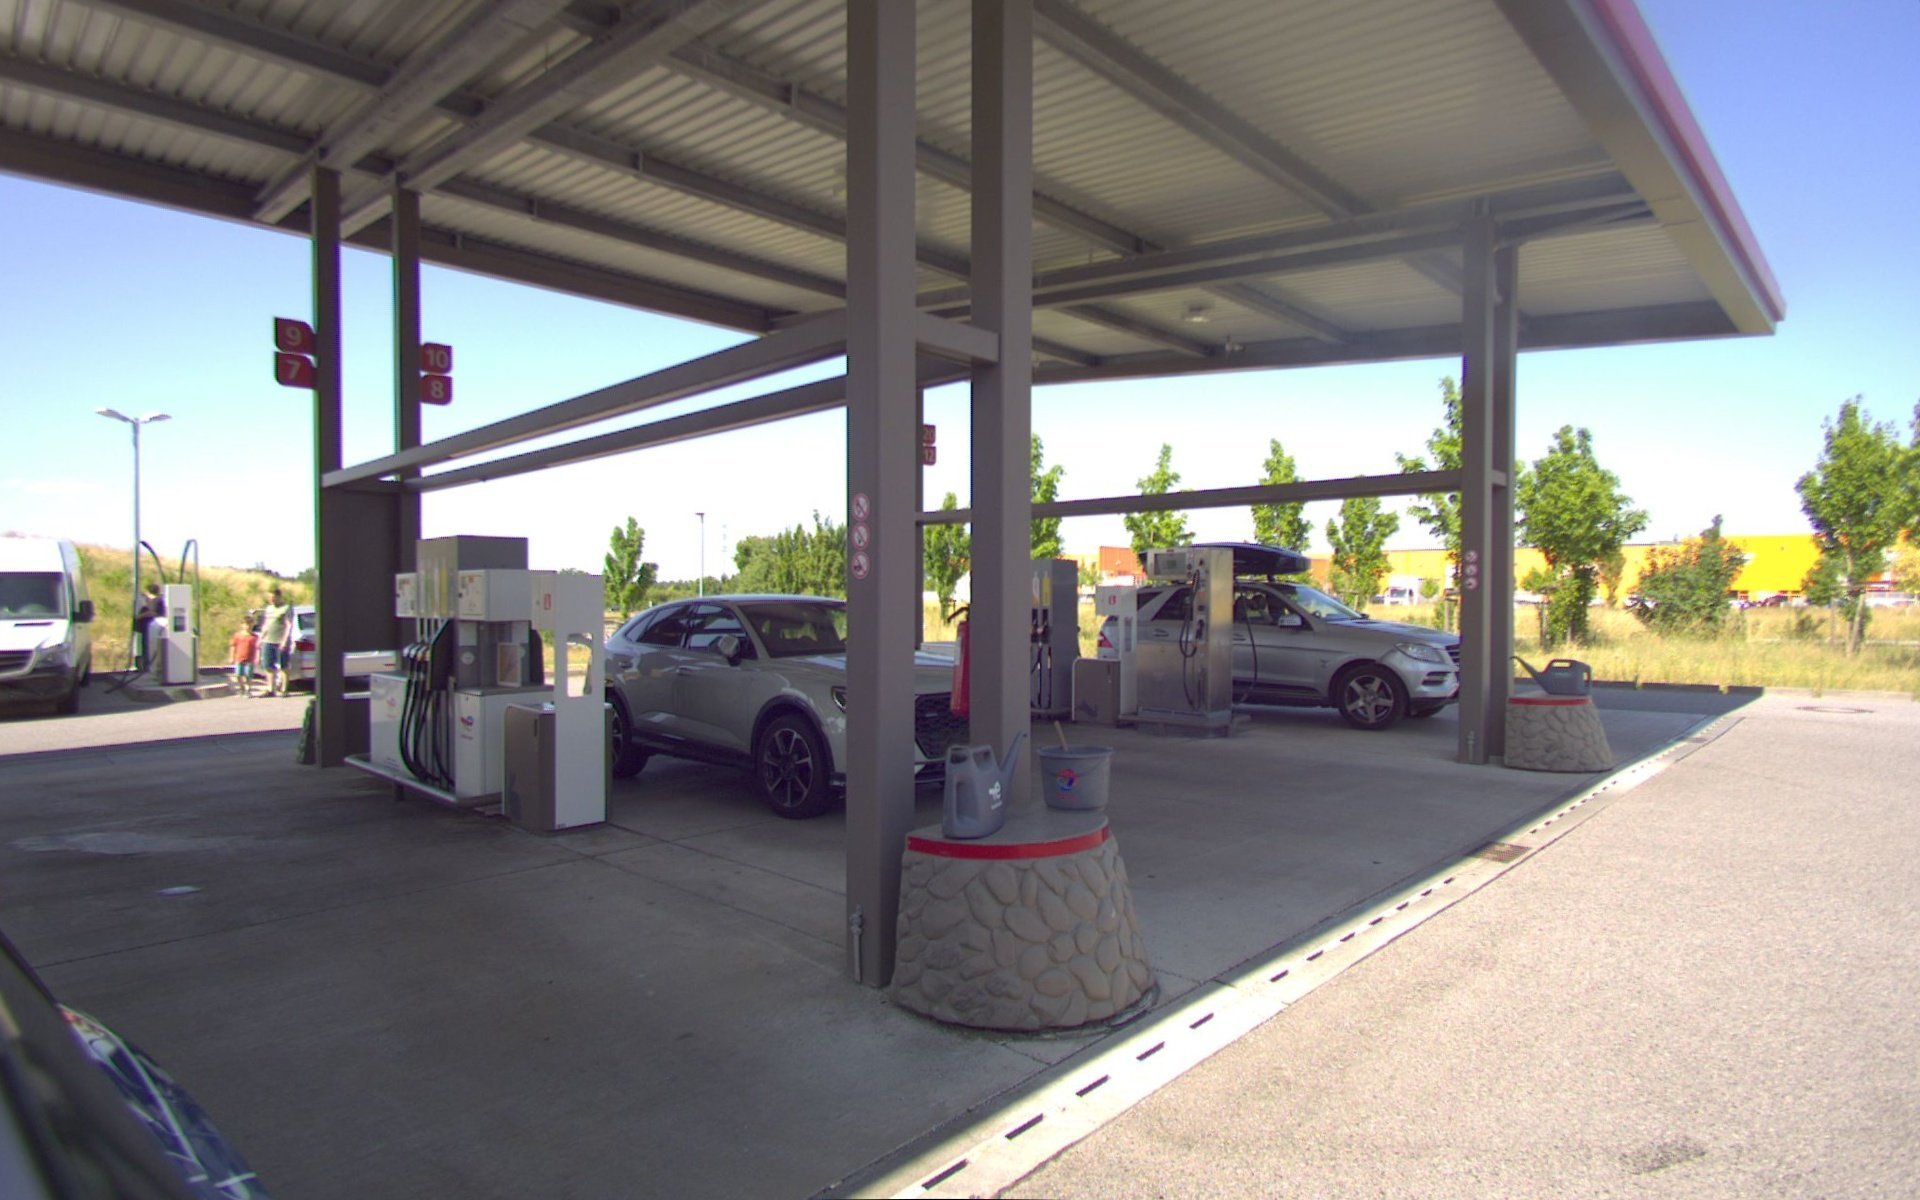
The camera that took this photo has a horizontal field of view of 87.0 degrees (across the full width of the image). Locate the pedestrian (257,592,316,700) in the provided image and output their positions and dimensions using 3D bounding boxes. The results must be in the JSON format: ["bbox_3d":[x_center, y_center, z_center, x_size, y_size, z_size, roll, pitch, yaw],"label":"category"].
[{"bbox_3d":[-11.351,0.747,17.046,0.698,1.762,0.846,0,-1,-43],"label":"pedestrian"}]

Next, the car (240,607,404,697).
[{"bbox_3d":[-12.054,0.885,18.998,1.766,1.439,4.325,0,0,-44],"label":"car"}]

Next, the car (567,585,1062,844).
[{"bbox_3d":[-1.407,0.709,8.234,1.760,1.553,4.328,0,-1,-45],"label":"car"}]

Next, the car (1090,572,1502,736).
[{"bbox_3d":[4.040,0.586,12.660,4.533,1.700,1.840,-1,-1,41],"label":"car"}]

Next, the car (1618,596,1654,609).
[{"bbox_3d":[71.357,0.247,106.846,1.464,1.309,2.948,0,-1,-43],"label":"car"}]

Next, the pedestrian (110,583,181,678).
[{"bbox_3d":[-15.583,0.574,19.377,0.831,1.783,0.711,0,-1,-13],"label":"pedestrian"}]

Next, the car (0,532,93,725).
[{"bbox_3d":[-15.253,0.294,16.104,1.968,2.590,7.045,0,1,-39],"label":"car"}]

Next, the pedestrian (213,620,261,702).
[{"bbox_3d":[-12.030,0.994,16.829,0.569,1.316,0.670,0,-1,-43],"label":"pedestrian"}]
